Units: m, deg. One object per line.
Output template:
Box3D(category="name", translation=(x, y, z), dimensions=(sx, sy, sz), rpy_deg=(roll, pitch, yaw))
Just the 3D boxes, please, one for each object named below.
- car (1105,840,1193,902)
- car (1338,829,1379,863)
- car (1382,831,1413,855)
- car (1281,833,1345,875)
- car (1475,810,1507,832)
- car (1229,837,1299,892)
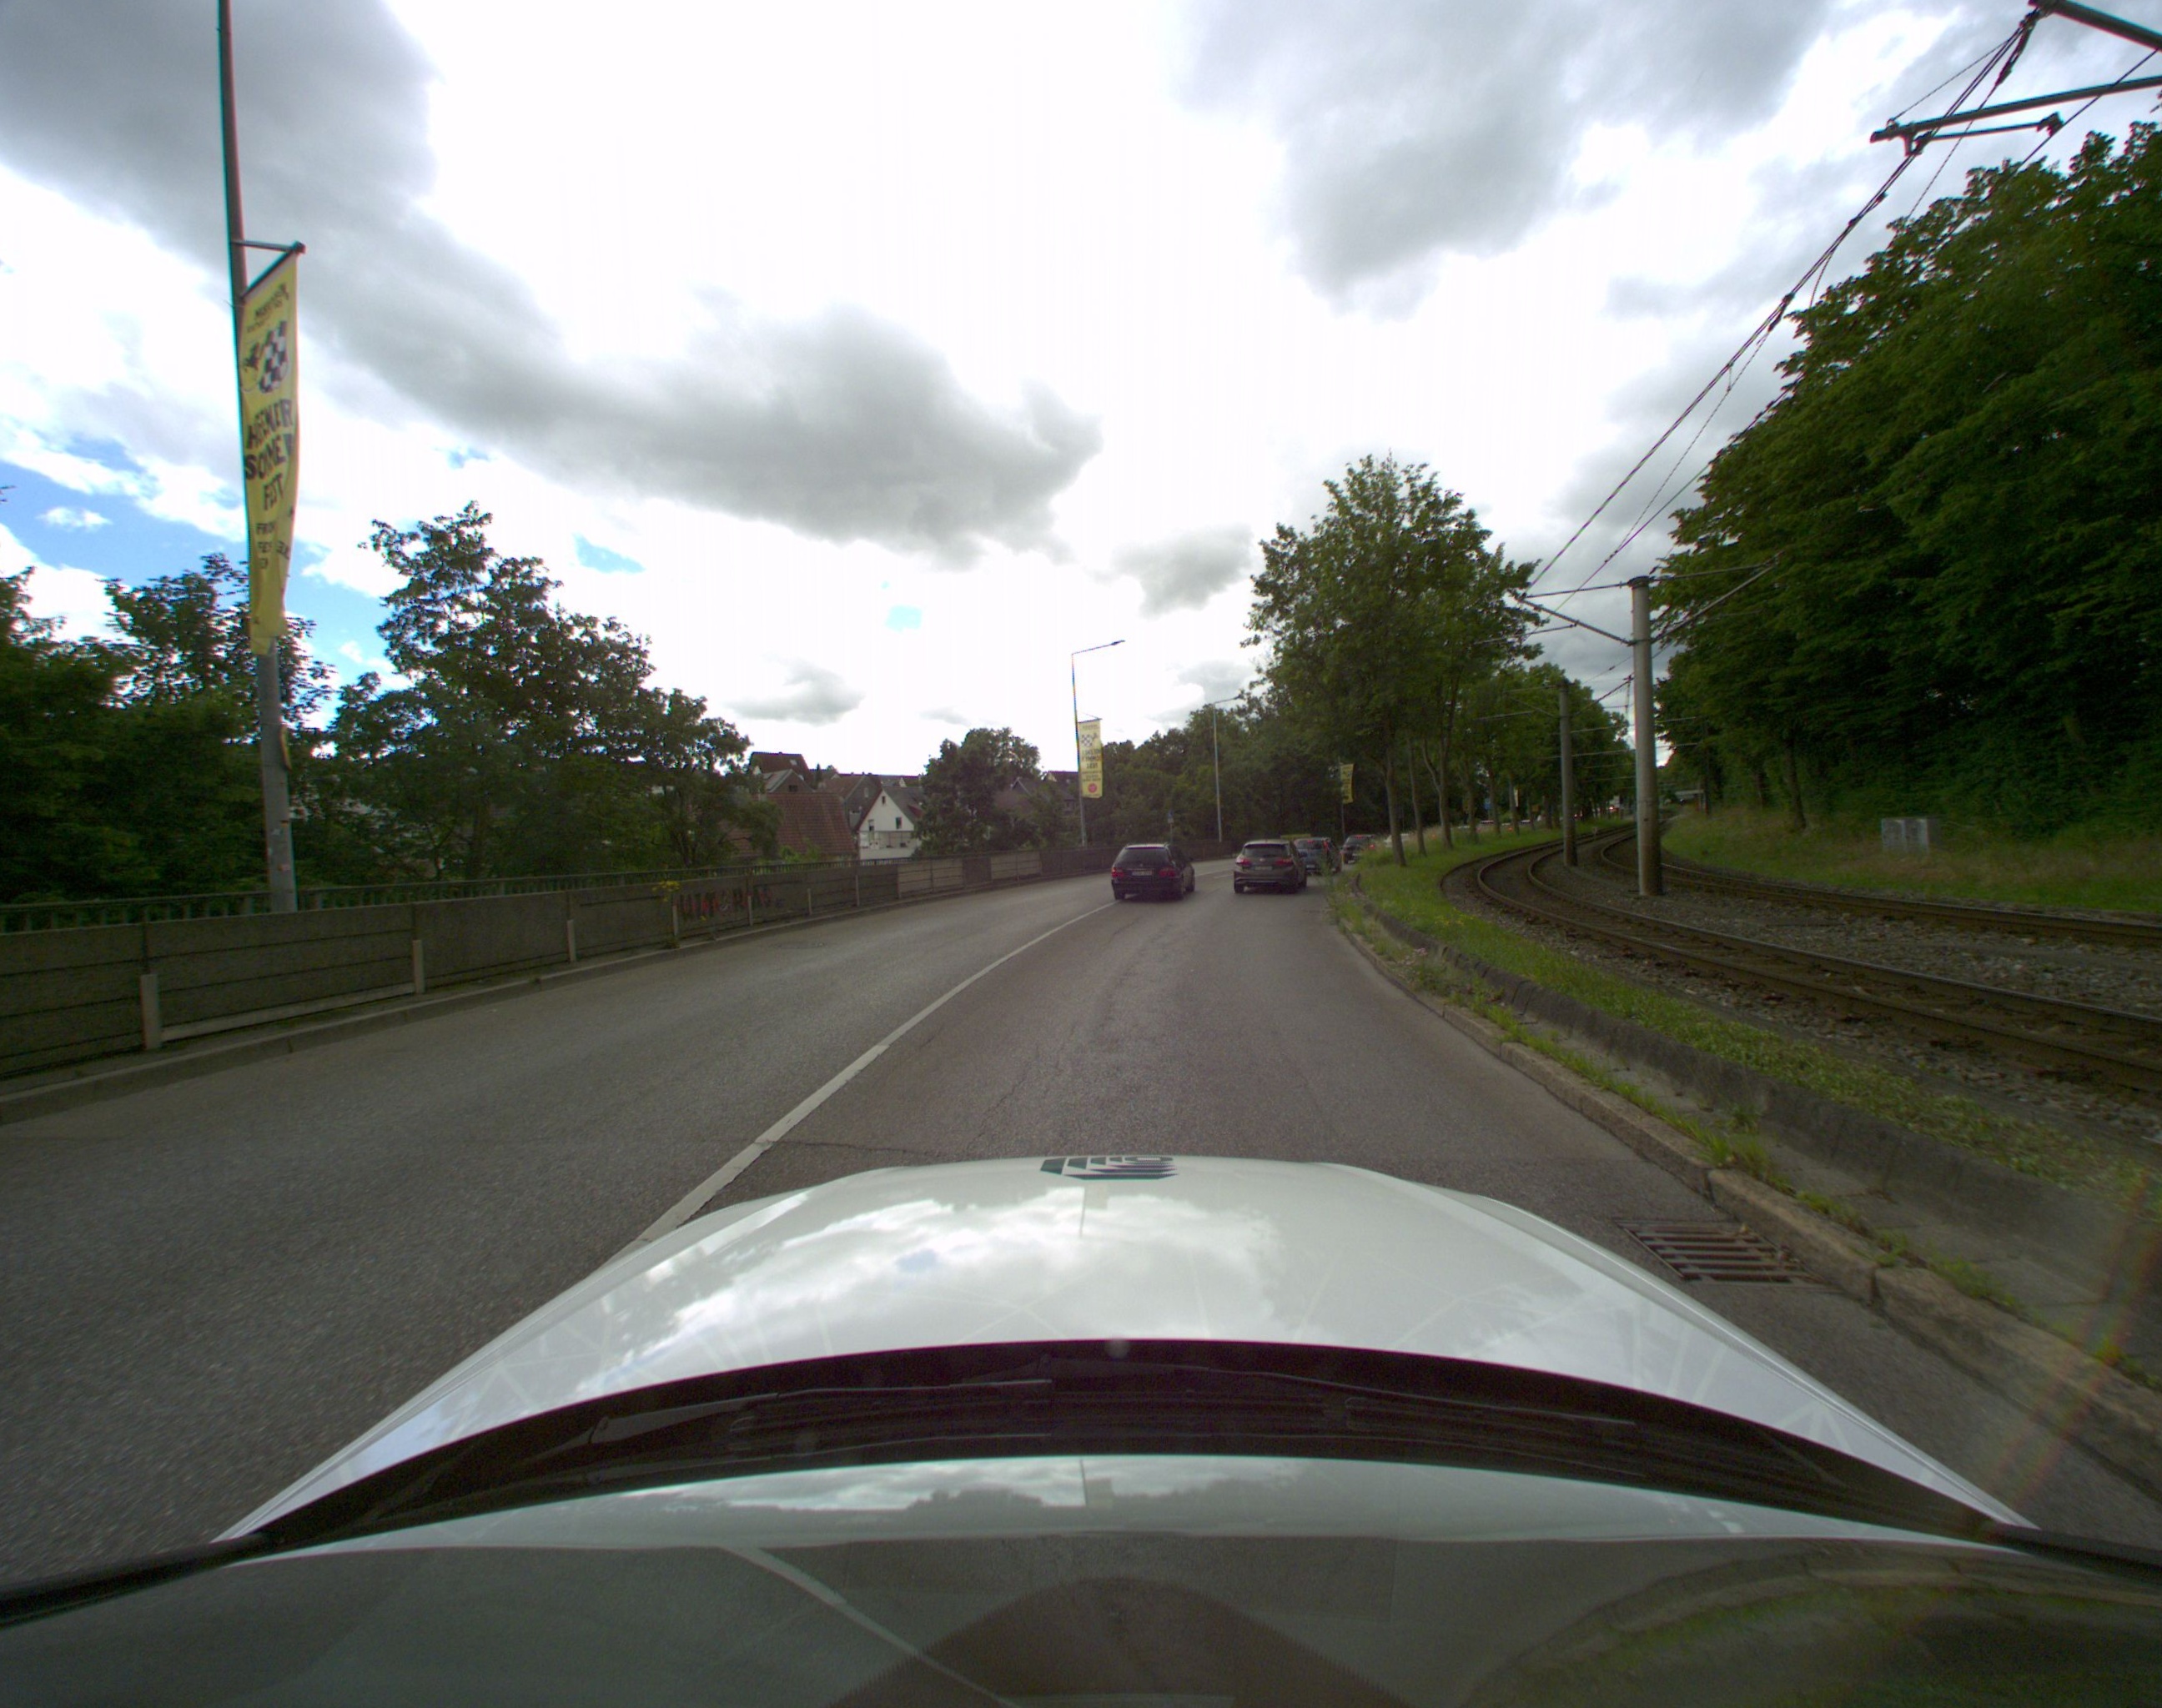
Box3D(category="car", translation=(1.978, 0.398, 22.418), dimensions=(1.839, 1.486, 4.435), rpy_deg=(-2, 1, 11))
Box3D(category="car", translation=(14.071, -0.427, 41.191), dimensions=(1.563, 1.538, 4.023), rpy_deg=(-3, 0, 24))
Box3D(category="car", translation=(19.641, -0.724, 50.454), dimensions=(1.486, 1.364, 3.608), rpy_deg=(-3, 0, 26))
Box3D(category="car", translation=(9.441, -0.004, 32.944), dimensions=(1.875, 1.574, 4.023), rpy_deg=(-1, 0, 25))
Box3D(category="car", translation=(37.405, -2.958, 74.215), dimensions=(1.909, 1.859, 4.026), rpy_deg=(-3, 0, 36))
Box3D(category="car", translation=(5.558, 0.262, 24.400), dimensions=(1.761, 1.494, 4.018), rpy_deg=(0, 1, 16))
